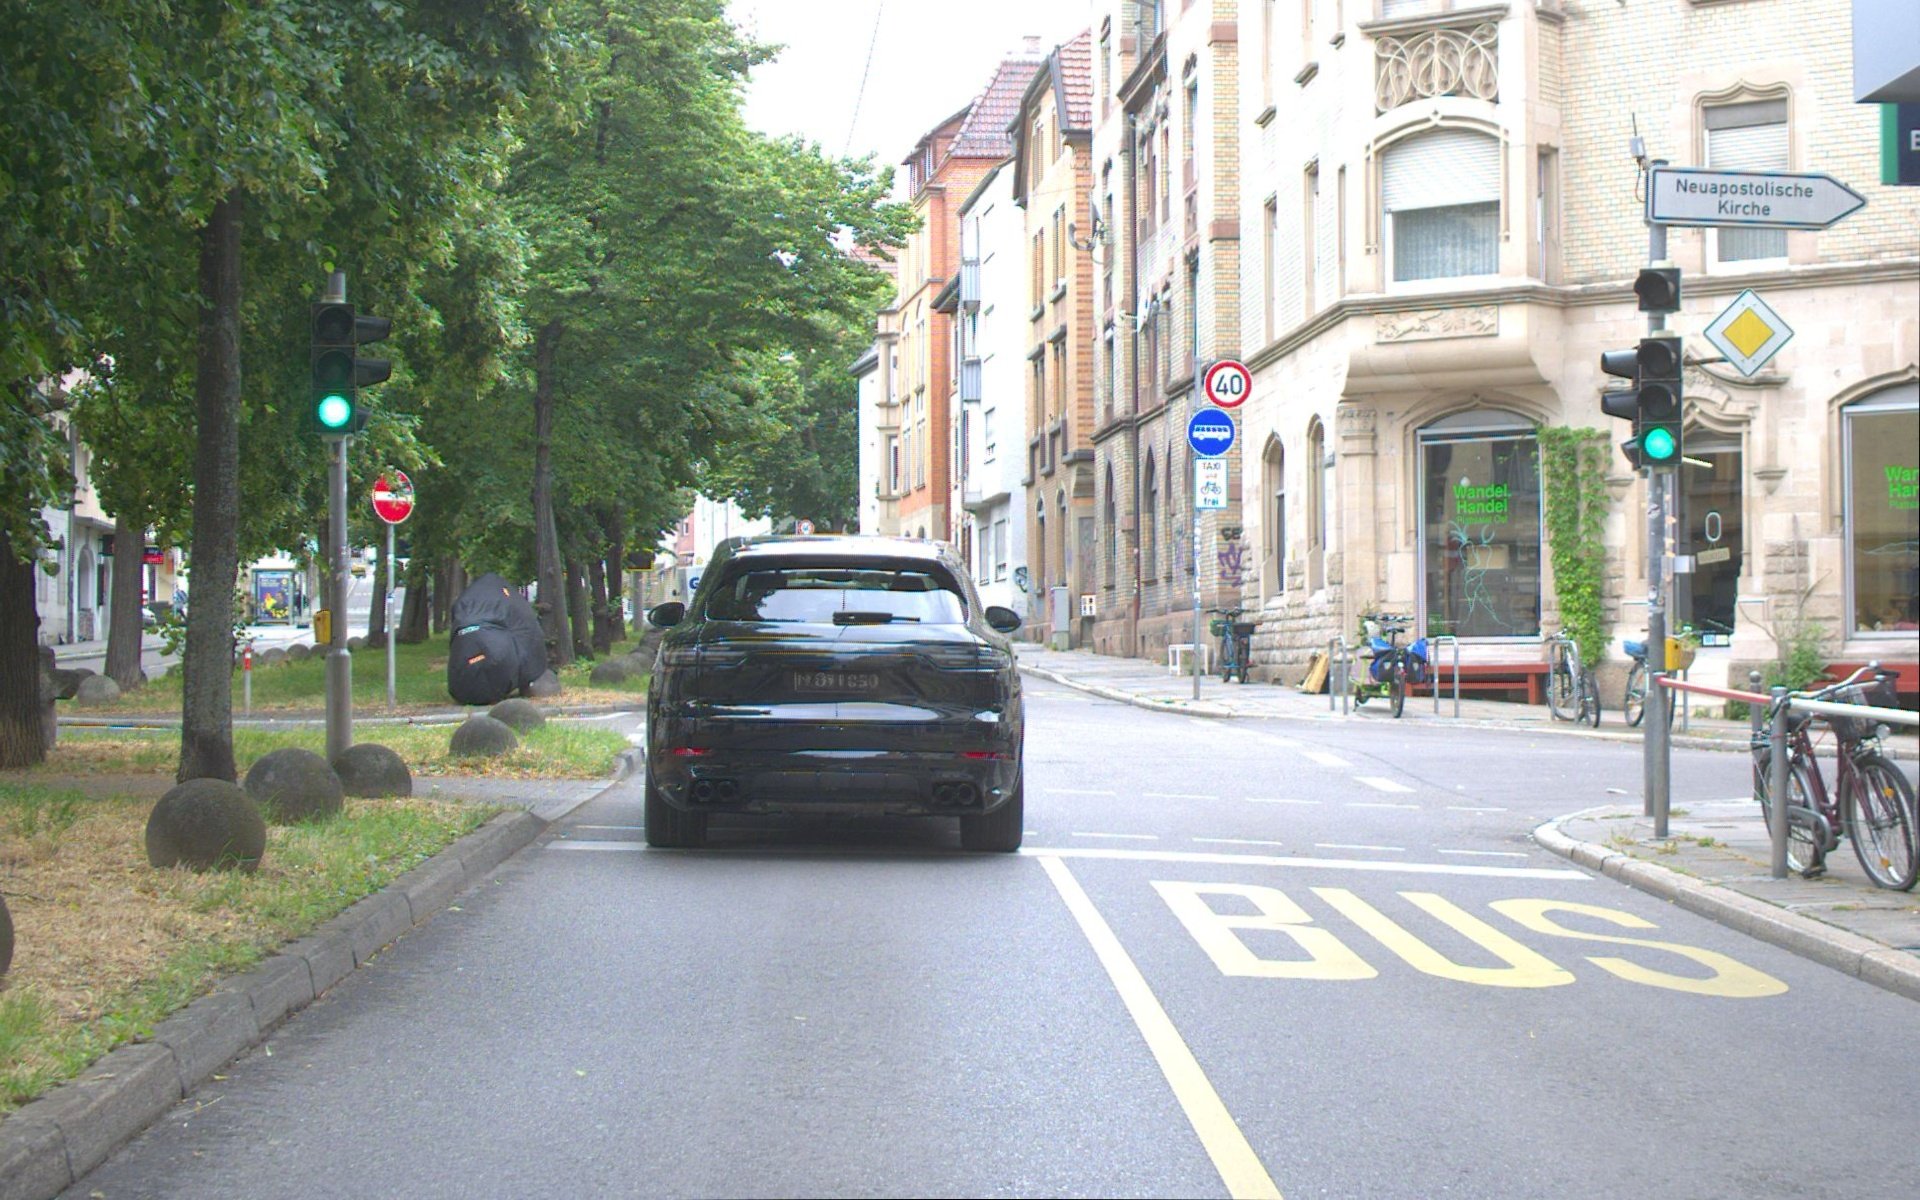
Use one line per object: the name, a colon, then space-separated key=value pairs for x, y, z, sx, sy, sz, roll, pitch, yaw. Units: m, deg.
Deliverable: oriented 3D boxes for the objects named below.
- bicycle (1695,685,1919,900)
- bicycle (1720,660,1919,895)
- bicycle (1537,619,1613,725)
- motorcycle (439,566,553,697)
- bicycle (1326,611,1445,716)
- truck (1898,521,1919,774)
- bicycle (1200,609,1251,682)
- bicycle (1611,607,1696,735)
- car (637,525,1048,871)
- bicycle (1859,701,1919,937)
bicycle: x=4.044 y=0.893 z=16.432 sx=0.286 sy=0.928 sz=1.761 roll=1 pitch=0 yaw=-14
bicycle: x=4.241 y=0.835 z=16.756 sx=0.286 sy=1.051 sz=1.761 roll=1 pitch=0 yaw=-14
bicycle: x=6.618 y=0.761 z=37.074 sx=0.349 sy=1.055 sz=1.834 roll=3 pitch=1 yaw=-3
motorcycle: x=-5.326 y=0.355 z=39.597 sx=1.019 sy=1.441 sz=2.247 roll=-1 pitch=0 yaw=-1
bicycle: x=4.774 y=0.692 z=38.756 sx=0.879 sy=1.125 sz=2.979 roll=1 pitch=0 yaw=-2
truck: x=10.949 y=0.516 z=28.515 sx=5.558 sy=2.126 sz=2.382 roll=2 pitch=0 yaw=-11
bicycle: x=3.856 y=0.667 z=49.960 sx=0.446 sy=1.033 sz=2.248 roll=-1 pitch=-1 yaw=-3
bicycle: x=7.405 y=0.746 z=36.787 sx=0.446 sy=1.157 sz=1.835 roll=-1 pitch=5 yaw=-3
car: x=-0.729 y=0.450 z=19.014 sx=1.993 sy=1.660 sz=4.001 roll=2 pitch=1 yaw=-4
bicycle: x=4.169 y=0.900 z=13.895 sx=0.569 sy=0.928 sz=1.775 roll=1 pitch=0 yaw=-1
